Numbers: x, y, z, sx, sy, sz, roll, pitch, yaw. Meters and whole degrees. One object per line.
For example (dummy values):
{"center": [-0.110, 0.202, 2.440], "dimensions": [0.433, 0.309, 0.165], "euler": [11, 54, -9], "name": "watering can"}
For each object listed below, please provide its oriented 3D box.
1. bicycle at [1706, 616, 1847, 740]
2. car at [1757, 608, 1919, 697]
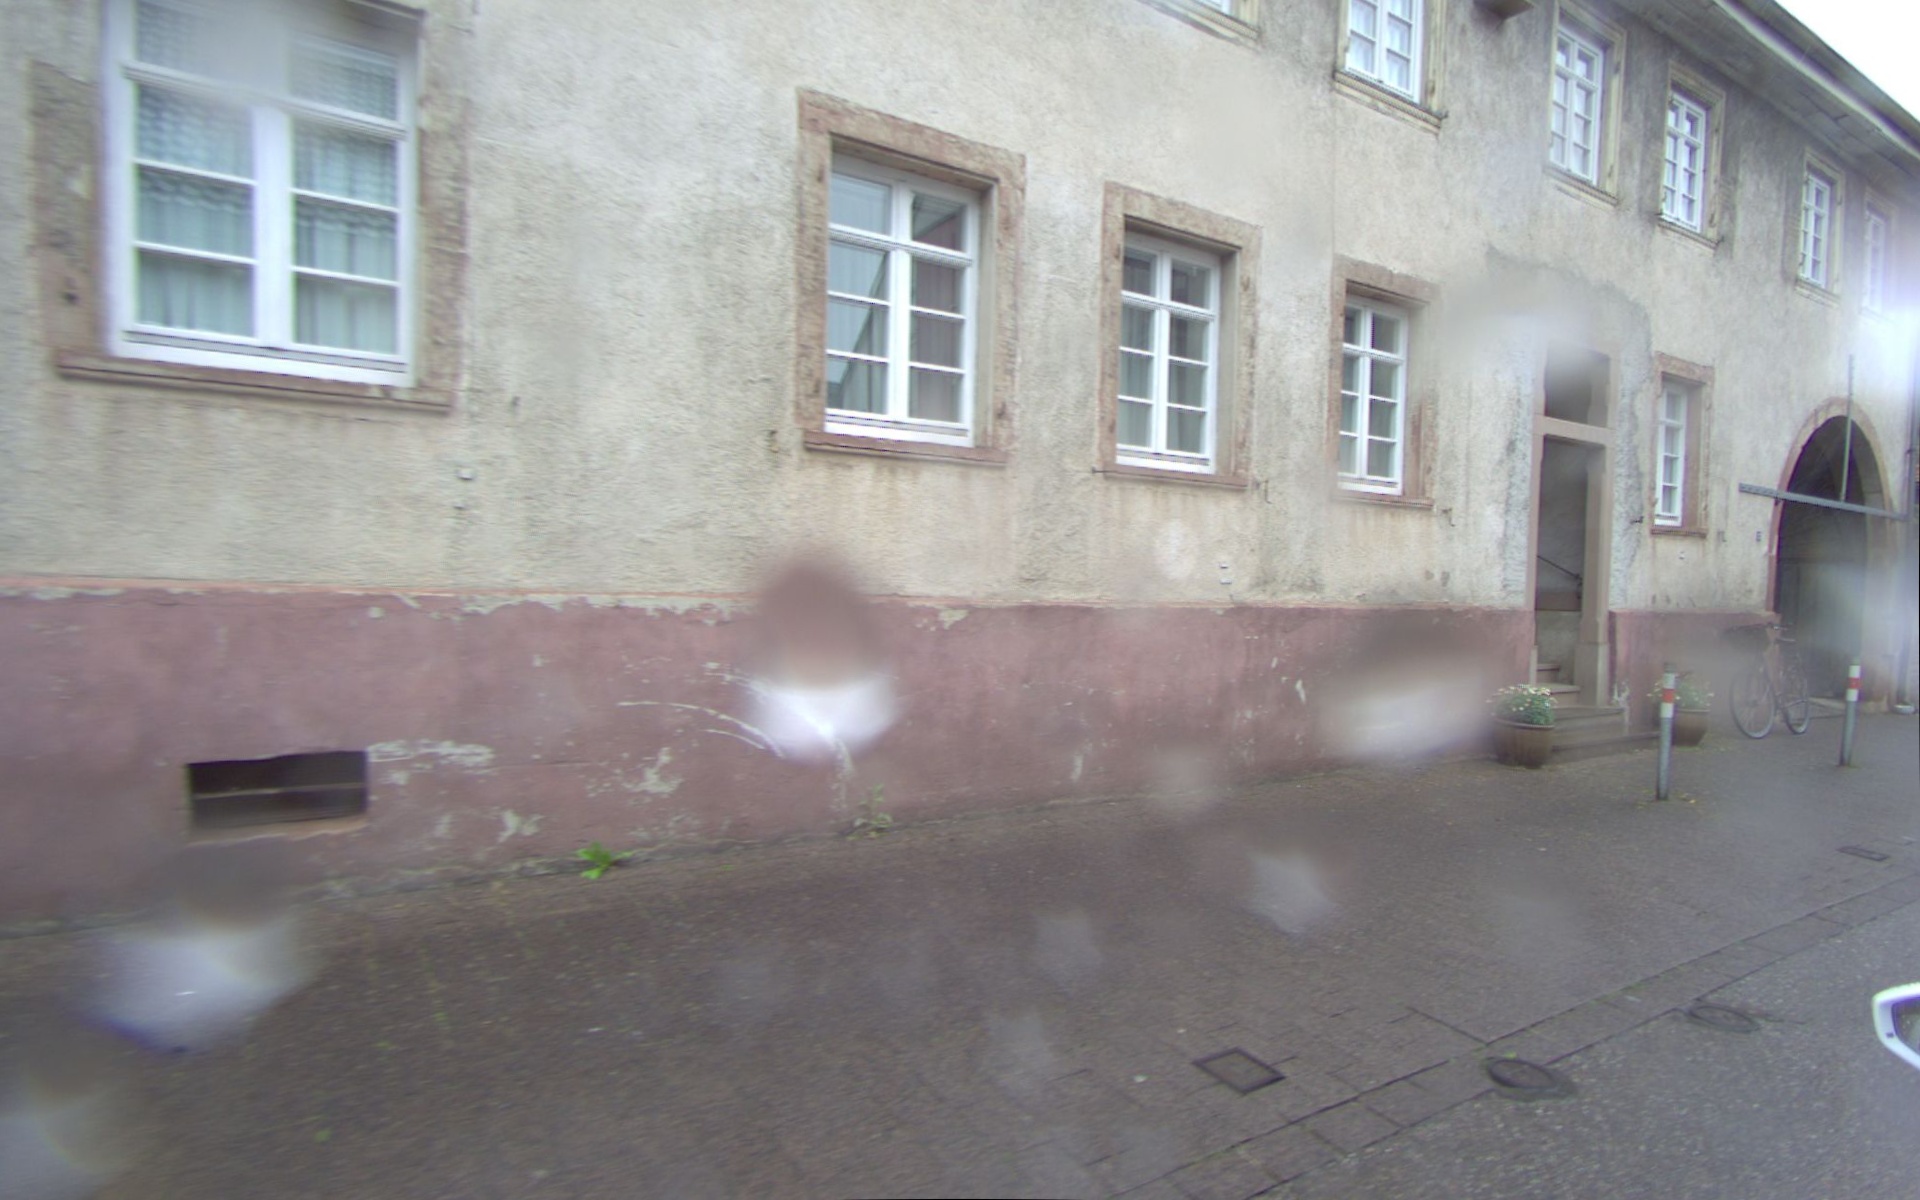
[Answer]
{"center": [8.586, 0.799, 10.544], "dimensions": [1.814, 1.196, 0.480], "euler": [2, 2, -31], "name": "bicycle"}
{"center": [16.364, 0.909, 17.513], "dimensions": [1.575, 1.394, 3.511], "euler": [1, 1, -29], "name": "car"}
